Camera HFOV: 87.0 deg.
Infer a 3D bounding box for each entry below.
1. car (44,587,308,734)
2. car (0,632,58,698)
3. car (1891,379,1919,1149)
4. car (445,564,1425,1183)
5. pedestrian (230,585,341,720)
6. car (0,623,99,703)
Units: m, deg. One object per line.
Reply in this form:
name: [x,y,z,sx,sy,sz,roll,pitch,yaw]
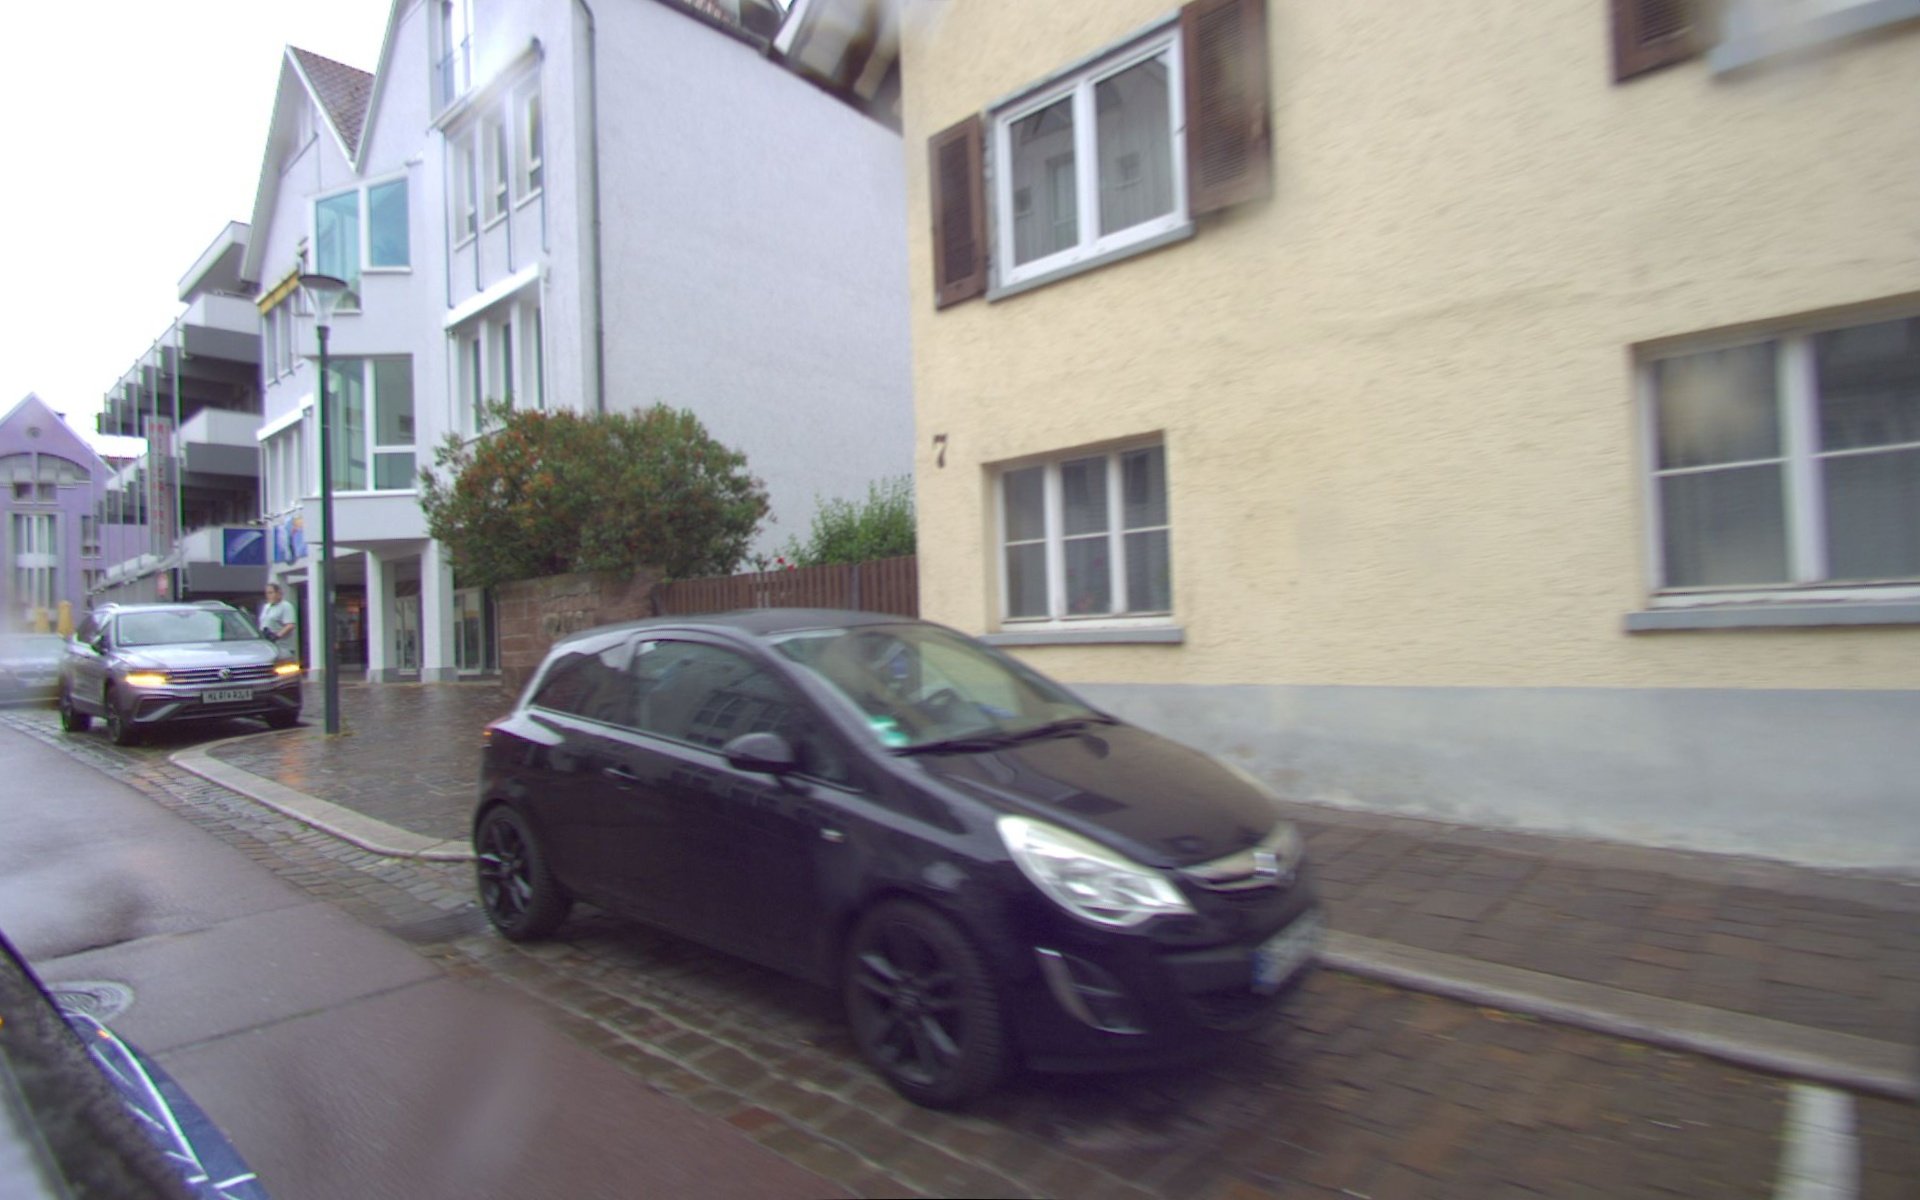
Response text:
car: [-10.123,0.679,12.944,4.404,1.580,1.762,-1,0,40]
car: [-24.693,1.729,25.978,3.998,1.562,1.773,-5,-2,41]
car: [3.653,0.402,0.590,4.424,1.839,1.706,-1,0,39]
car: [-0.360,0.647,4.140,3.820,1.399,1.665,-1,0,38]
pedestrian: [-9.615,0.729,14.424,1.116,1.820,1.024,-3,-1,41]
car: [-19.634,1.325,21.270,4.763,1.510,1.810,-4,-3,43]
